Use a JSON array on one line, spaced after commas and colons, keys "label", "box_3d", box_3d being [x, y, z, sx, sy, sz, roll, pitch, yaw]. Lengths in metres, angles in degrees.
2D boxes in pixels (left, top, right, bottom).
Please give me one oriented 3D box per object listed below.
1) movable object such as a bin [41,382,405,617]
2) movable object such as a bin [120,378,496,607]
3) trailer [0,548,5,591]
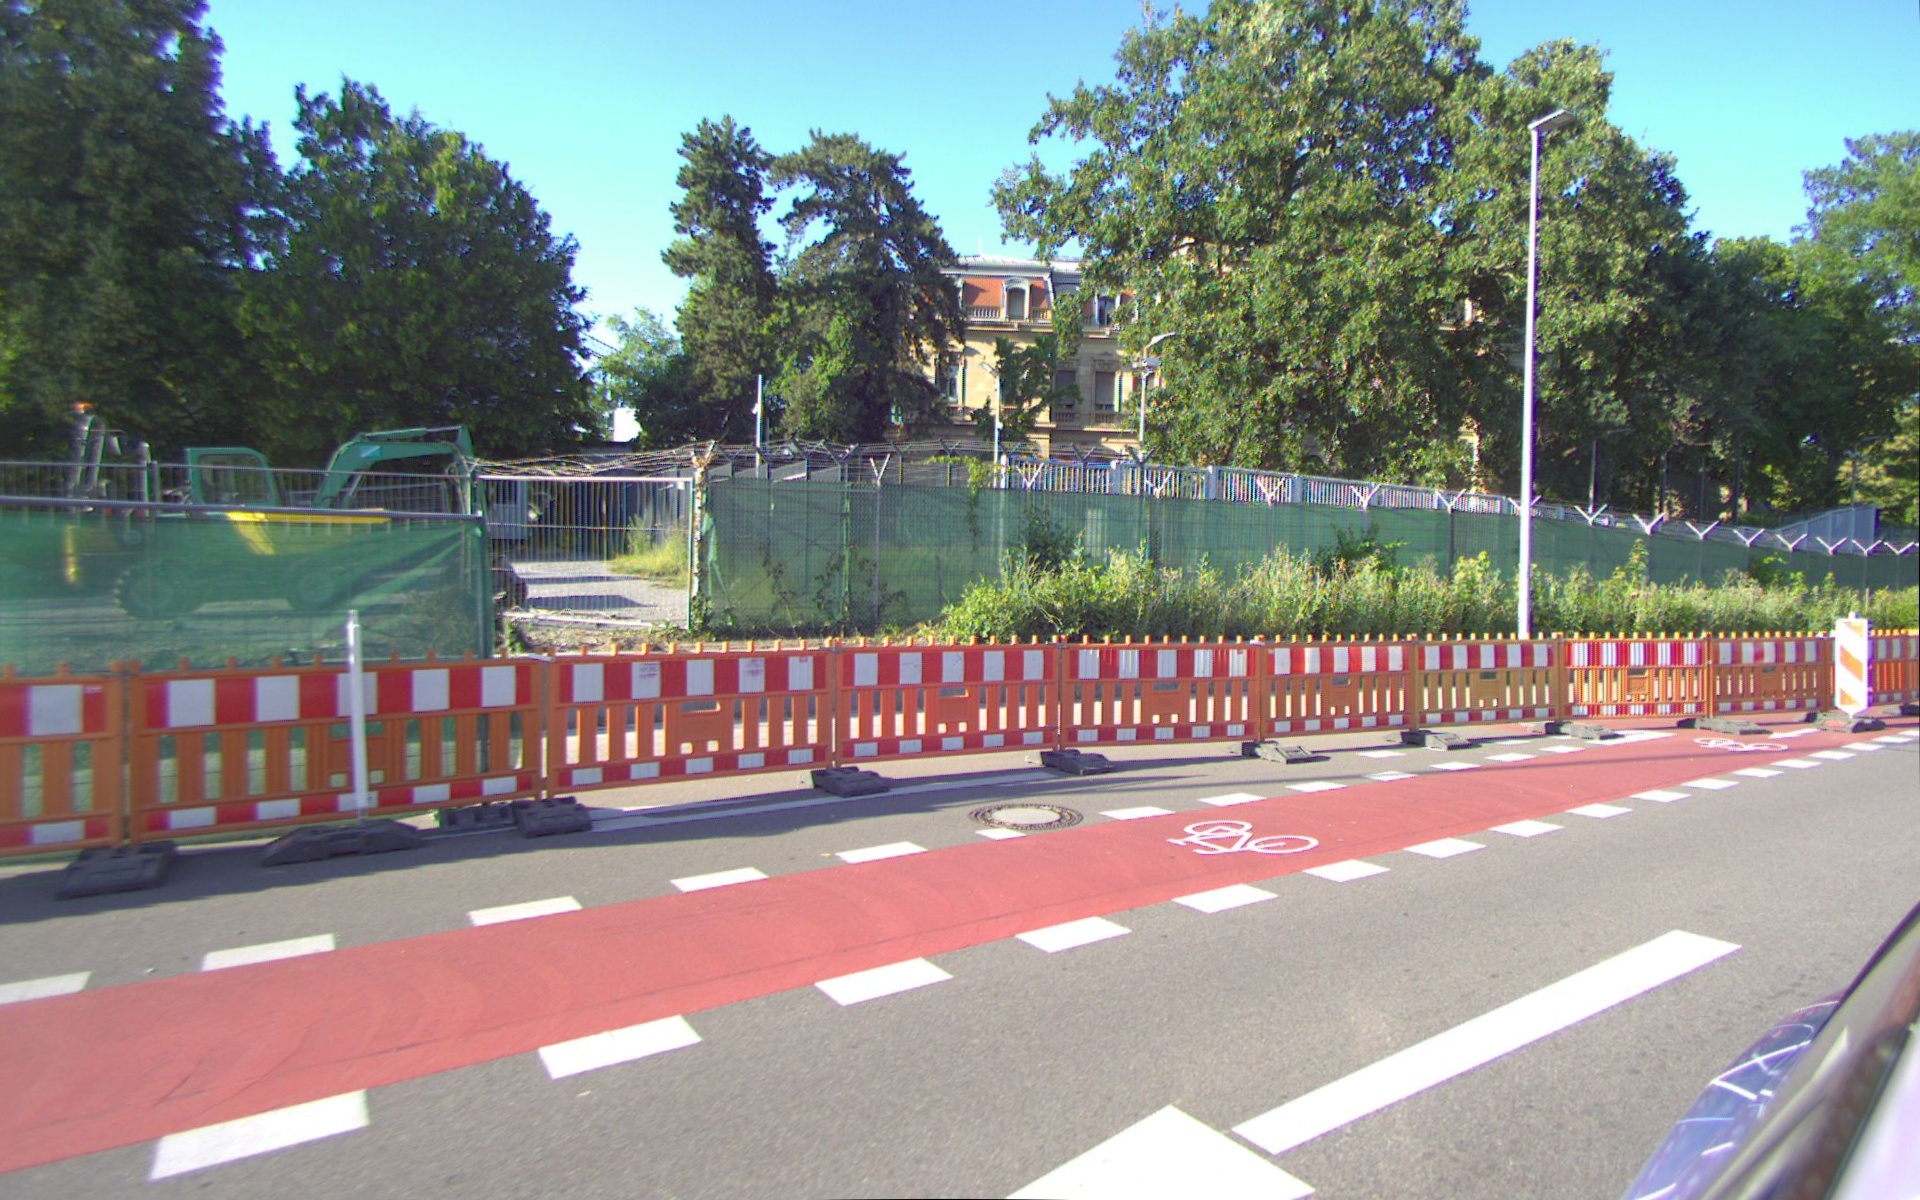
[{"label": "movable object such as a bin", "box_3d": [-10.241, -1.287, 14.500, 3.918, 2.940, 2.003, 0, 1, -27]}, {"label": "movable object such as a bin", "box_3d": [-11.439, -1.727, 18.272, 5.388, 3.601, 2.286, 0, 1, -29]}, {"label": "trailer", "box_3d": [-22.981, -1.550, 21.109, 3.916, 3.126, 2.617, -7, 6, -37]}]
